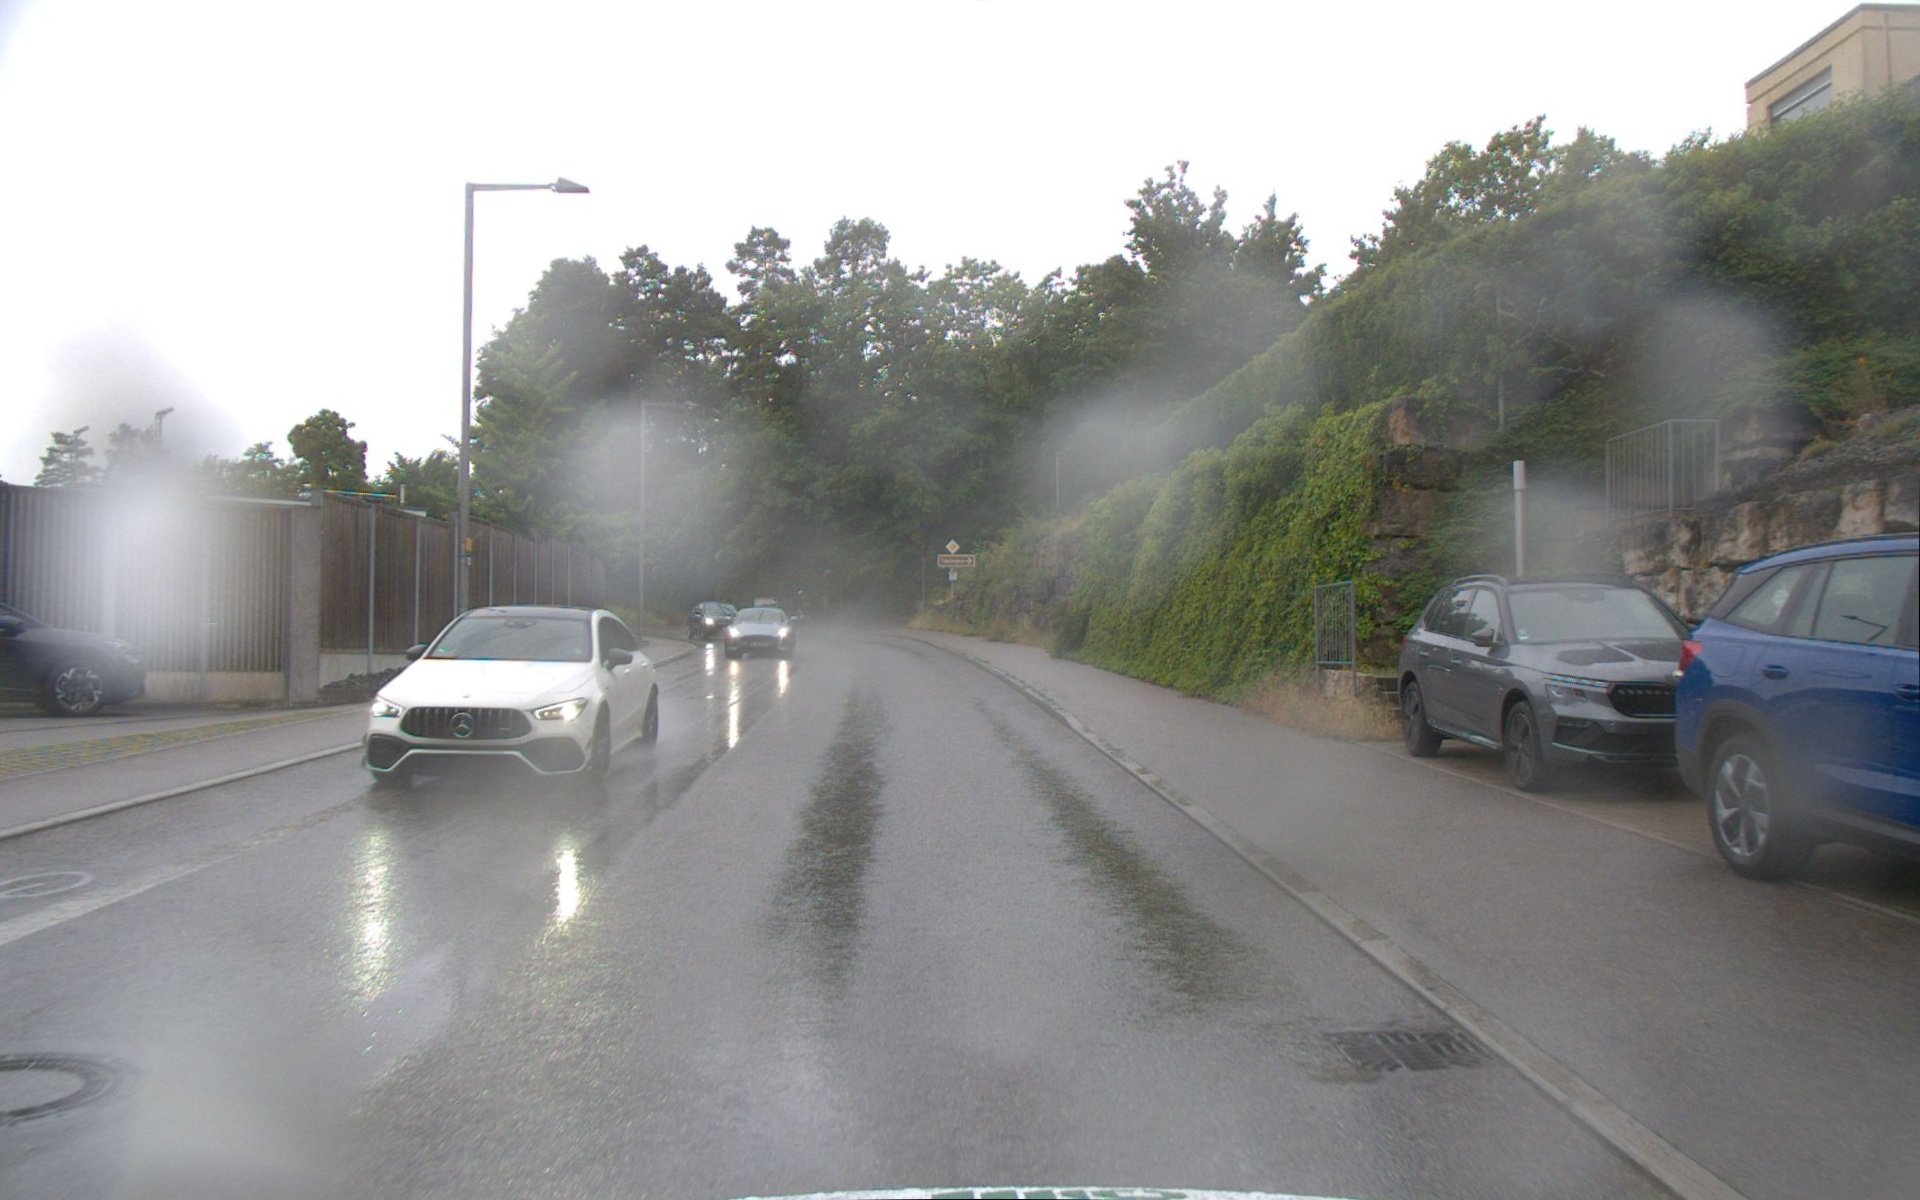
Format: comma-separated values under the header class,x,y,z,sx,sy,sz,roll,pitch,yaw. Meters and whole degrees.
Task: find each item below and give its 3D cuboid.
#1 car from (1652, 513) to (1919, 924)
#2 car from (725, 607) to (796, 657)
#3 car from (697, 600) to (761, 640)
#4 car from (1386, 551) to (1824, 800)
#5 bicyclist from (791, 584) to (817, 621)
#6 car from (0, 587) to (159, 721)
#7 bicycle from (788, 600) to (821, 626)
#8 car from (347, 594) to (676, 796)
class,x,y,z,sx,sy,sz,roll,pitch,yaw
car,4.919,0.451,6.829,1.954,1.699,4.541,-2,0,-4
car,-5.504,0.846,45.453,1.846,1.305,4.202,0,0,-7
car,-8.909,0.735,63.573,1.851,1.475,4.189,0,0,-17
car,4.840,0.501,13.081,1.774,1.590,4.009,-2,0,-1
bicyclist,-7.408,0.110,78.504,0.888,1.642,0.720,6,4,37
car,-12.529,0.646,20.711,4.246,1.629,1.814,1,0,-37
bicycle,-7.381,0.624,78.510,1.590,1.103,0.527,5,4,38
car,-3.742,0.724,14.600,1.809,1.486,4.266,1,0,-2
